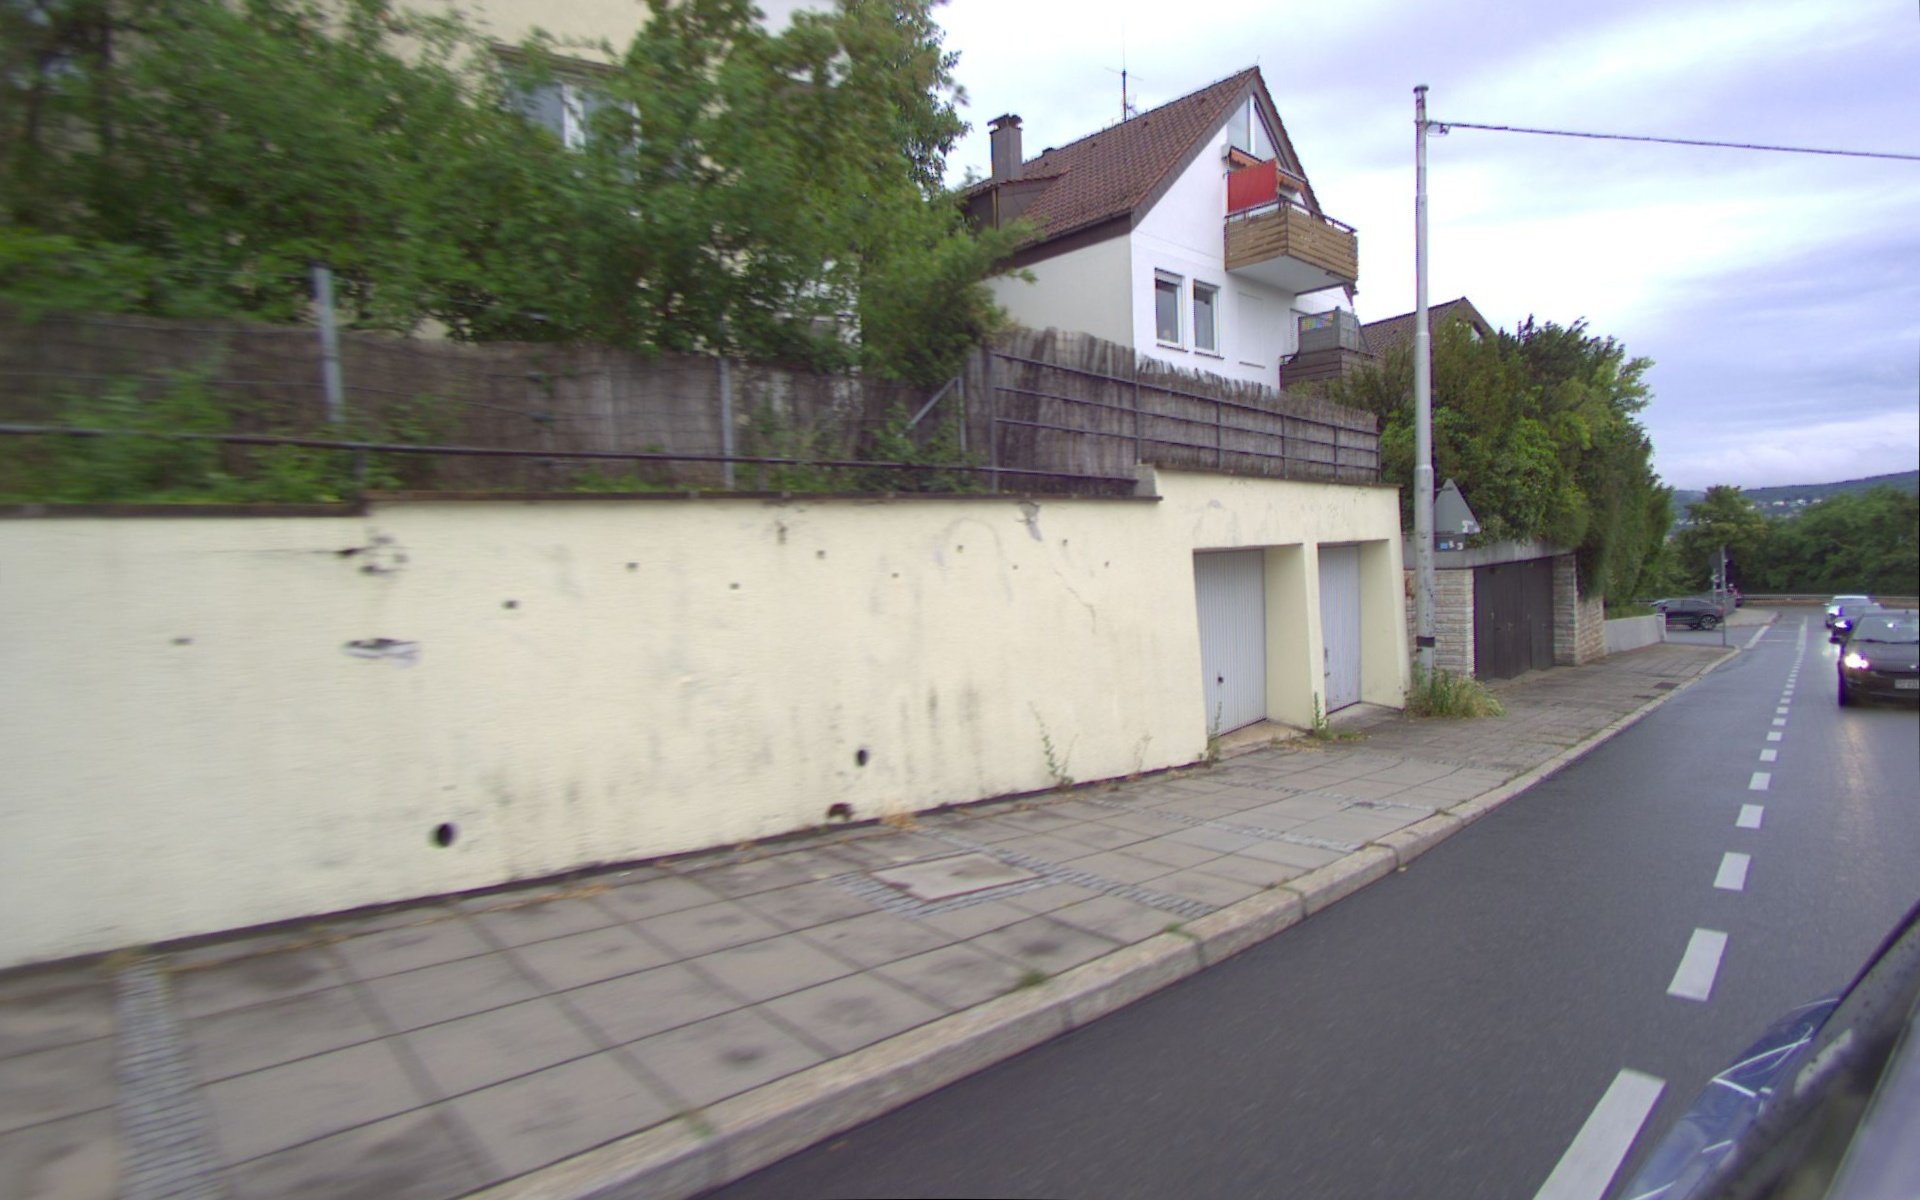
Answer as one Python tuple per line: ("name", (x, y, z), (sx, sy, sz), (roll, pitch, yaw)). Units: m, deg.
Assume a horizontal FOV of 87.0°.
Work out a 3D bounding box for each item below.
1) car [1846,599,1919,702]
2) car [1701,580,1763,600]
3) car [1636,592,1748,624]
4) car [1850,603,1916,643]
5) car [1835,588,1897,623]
("car", (14.911, 0.716, 15.691), (1.675, 1.431, 3.581), (-1, 0, 43))
("car", (65.678, -0.864, 86.136), (1.703, 1.564, 4.009), (0, 2, -11))
("car", (37.078, 0.398, 51.381), (4.143, 1.542, 1.990), (-1, 0, 17))
("car", (37.229, 0.868, 40.894), (1.759, 1.472, 4.336), (1, 1, 40))
("car", (45.946, 0.246, 51.404), (1.879, 1.595, 4.533), (0, 1, 36))
